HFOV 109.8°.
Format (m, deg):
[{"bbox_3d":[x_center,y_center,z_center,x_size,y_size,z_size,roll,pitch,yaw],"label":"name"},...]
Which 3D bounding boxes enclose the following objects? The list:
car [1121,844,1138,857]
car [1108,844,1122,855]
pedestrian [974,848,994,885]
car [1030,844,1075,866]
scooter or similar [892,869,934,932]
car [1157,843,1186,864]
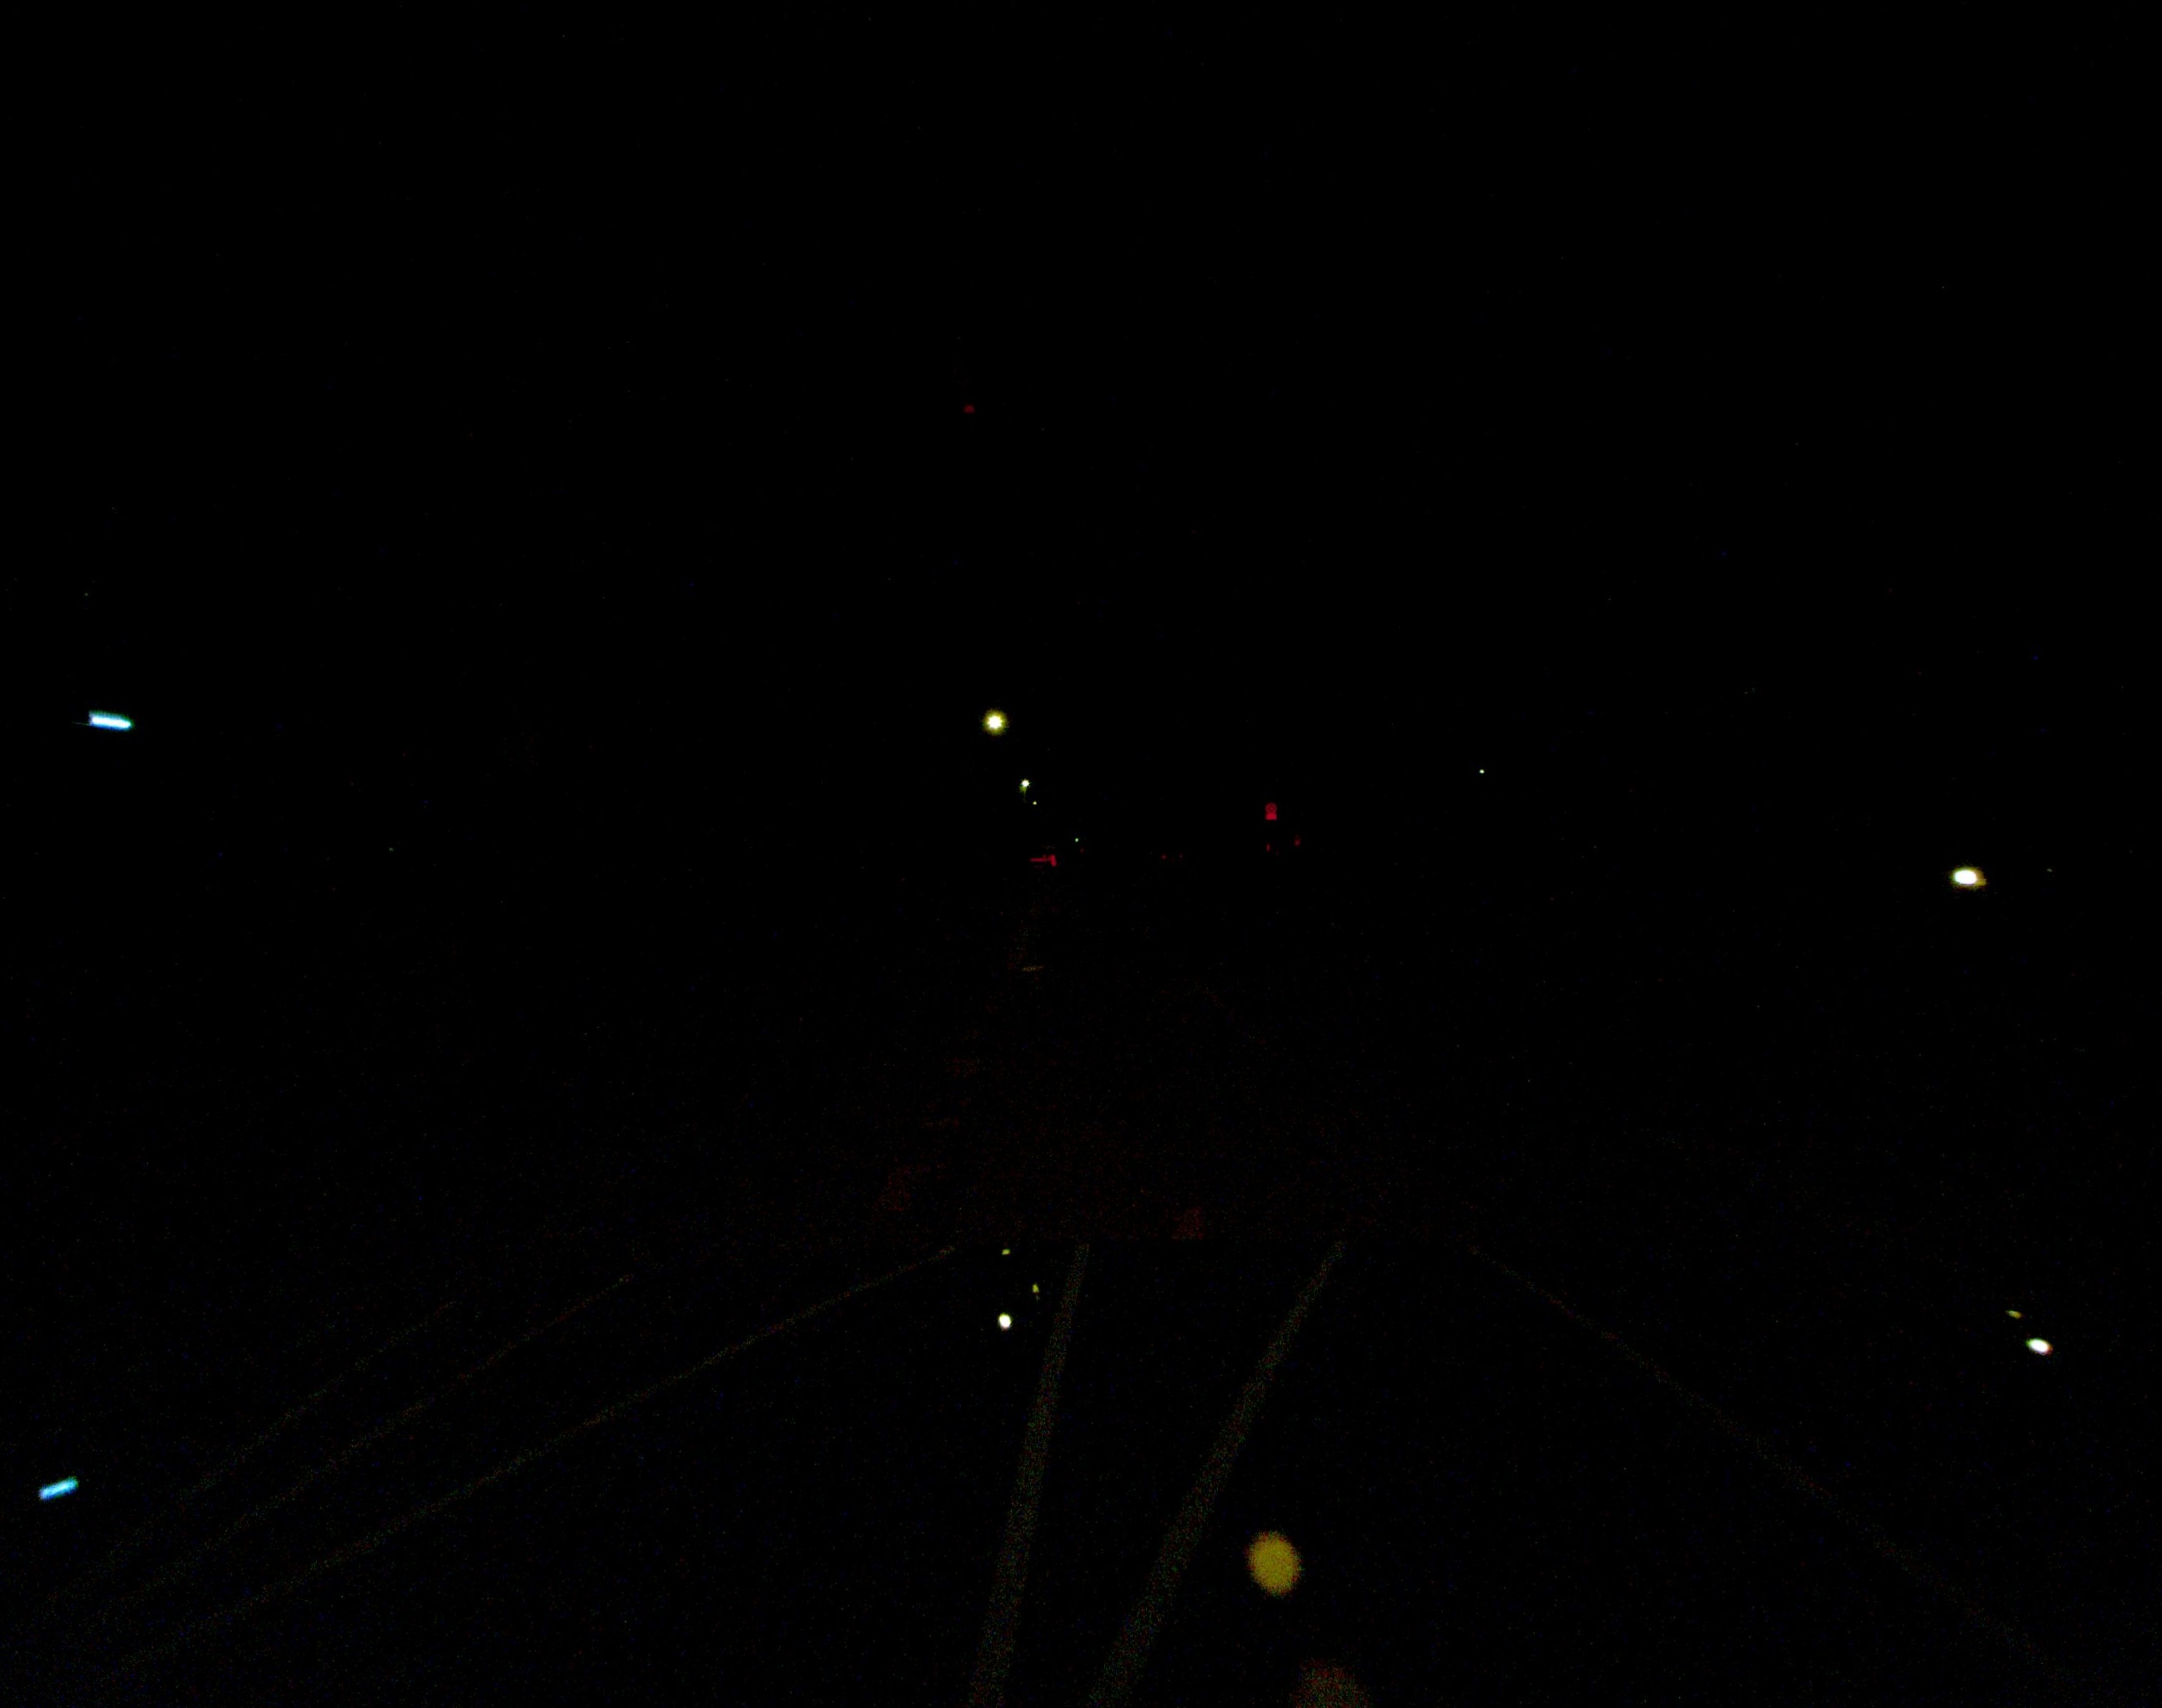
[{"bbox_3d":[6.381,-0.450,100.473,1.911,1.445,3.999,-3,2,1],"label":"car"},{"bbox_3d":[5.165,-0.700,116.602,1.911,1.445,3.999,-3,2,1],"label":"car"},{"bbox_3d":[-4.791,0.611,37.708,0.824,1.809,0.608,-3,2,1],"label":"pedestrian"},{"bbox_3d":[-2.611,0.082,70.751,3.997,1.820,1.912,-3,1,0],"label":"car"},{"bbox_3d":[-3.578,0.965,16.292,0.570,1.271,1.391,0,0,0],"label":"scooter or similar"},{"bbox_3d":[7.220,-0.036,60.996,1.911,1.445,3.999,-3,2,1],"label":"car"}]
